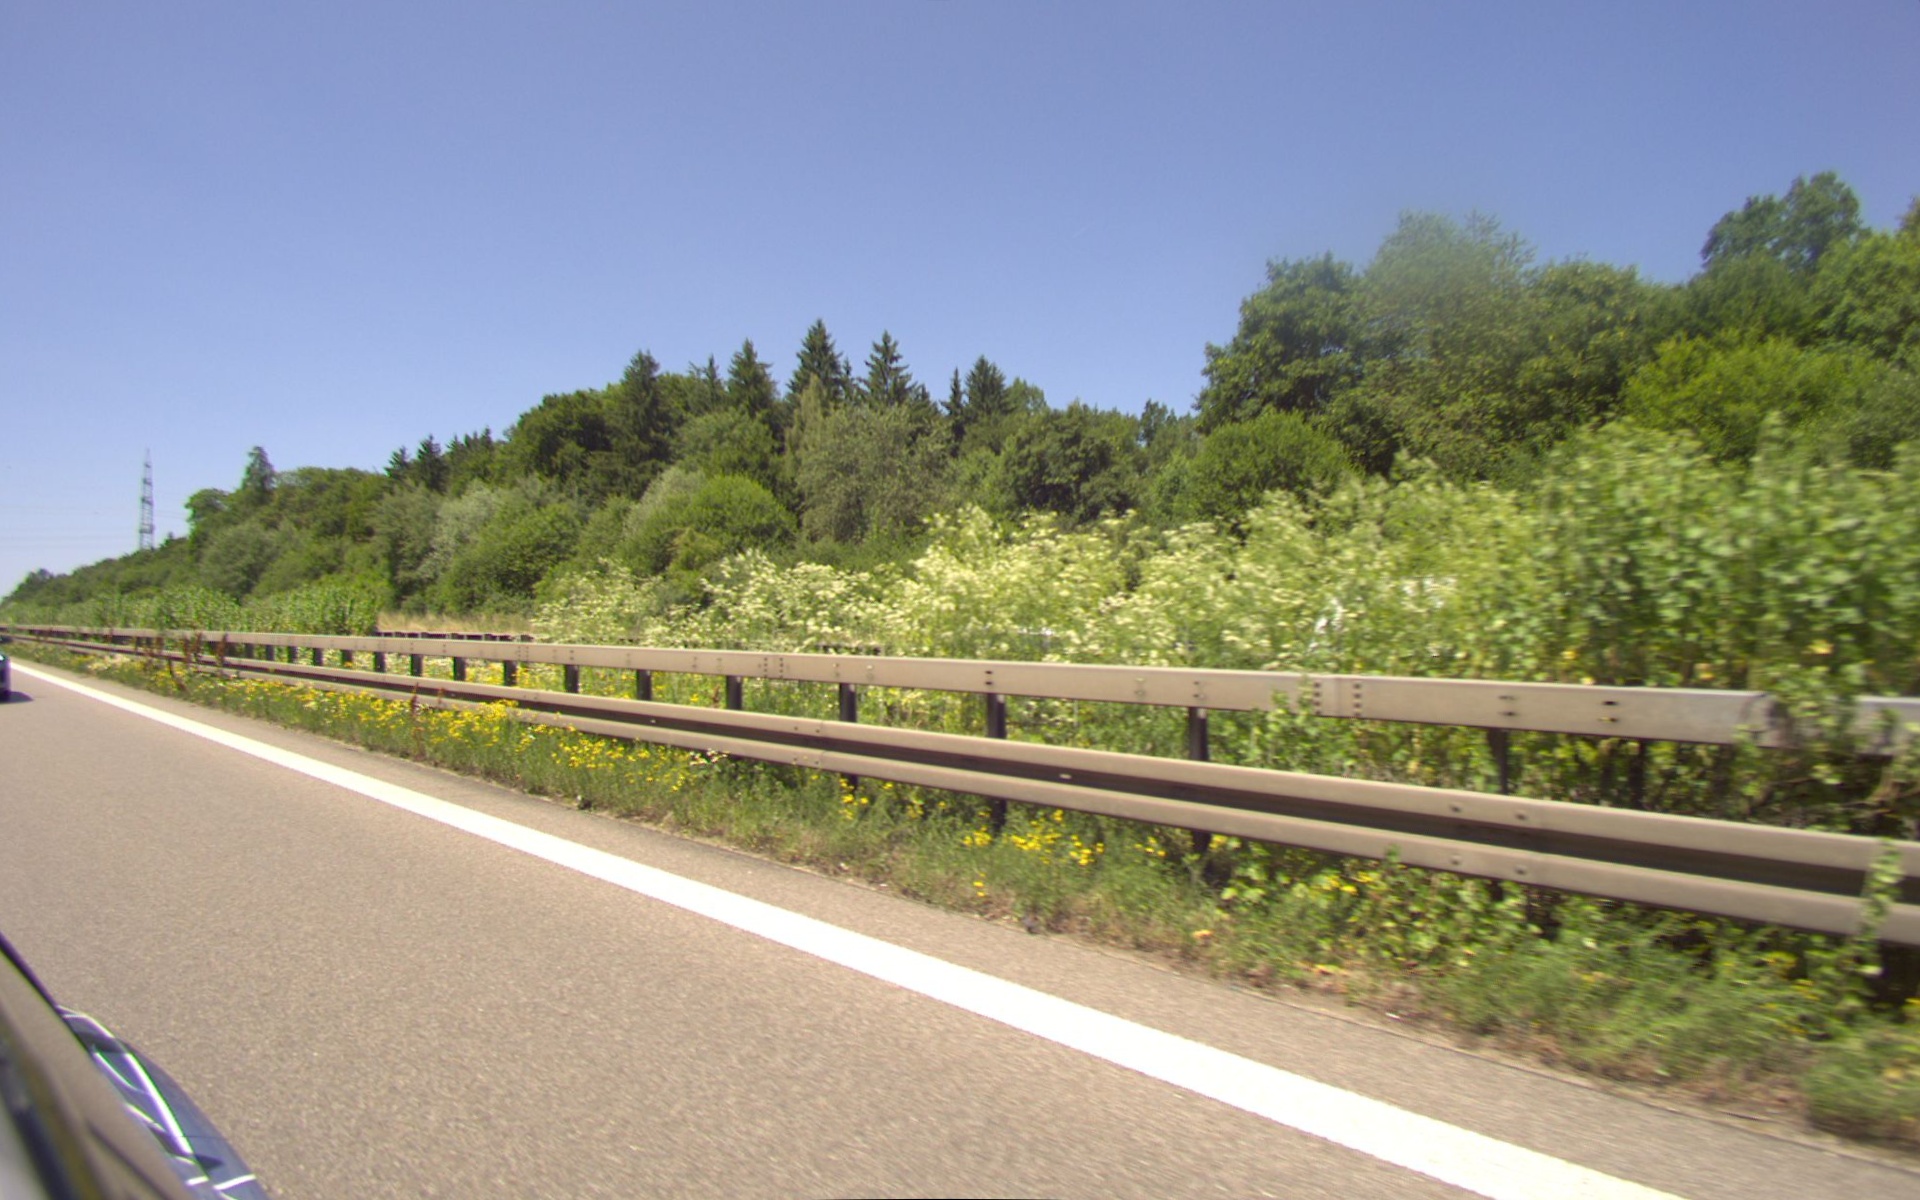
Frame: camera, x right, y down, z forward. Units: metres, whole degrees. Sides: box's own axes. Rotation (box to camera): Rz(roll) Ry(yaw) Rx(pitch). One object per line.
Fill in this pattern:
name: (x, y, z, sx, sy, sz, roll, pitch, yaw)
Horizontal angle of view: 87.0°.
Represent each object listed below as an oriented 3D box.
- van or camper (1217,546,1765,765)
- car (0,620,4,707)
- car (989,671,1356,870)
van or camper: (8.357, 0.805, 16.804, 7.689, 2.887, 2.297, -2, -1, 42)
car: (-17.728, 1.095, 17.270, 3.998, 1.419, 1.745, -2, -1, 42)
car: (2.374, 1.813, 11.905, 3.910, 1.764, 1.656, -2, -1, 42)
